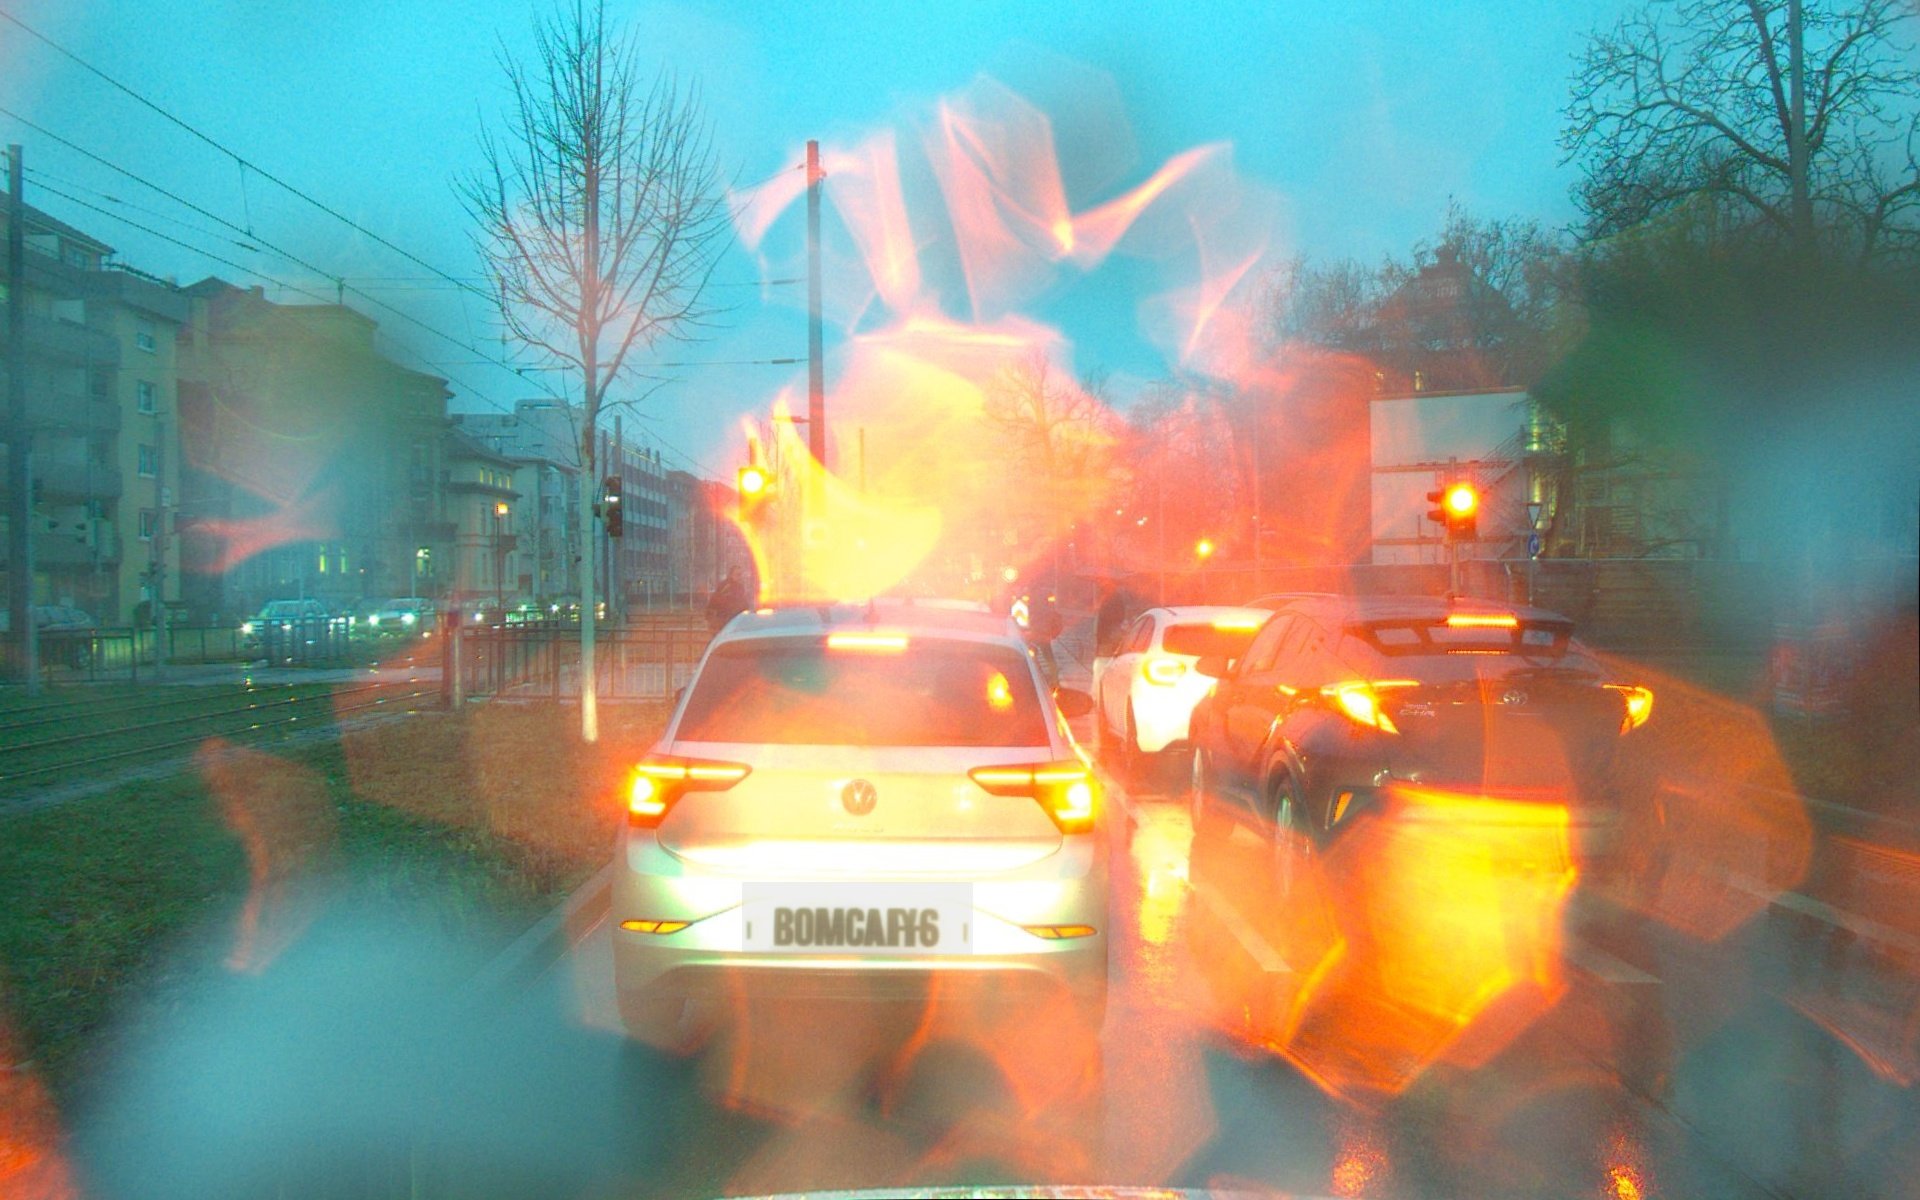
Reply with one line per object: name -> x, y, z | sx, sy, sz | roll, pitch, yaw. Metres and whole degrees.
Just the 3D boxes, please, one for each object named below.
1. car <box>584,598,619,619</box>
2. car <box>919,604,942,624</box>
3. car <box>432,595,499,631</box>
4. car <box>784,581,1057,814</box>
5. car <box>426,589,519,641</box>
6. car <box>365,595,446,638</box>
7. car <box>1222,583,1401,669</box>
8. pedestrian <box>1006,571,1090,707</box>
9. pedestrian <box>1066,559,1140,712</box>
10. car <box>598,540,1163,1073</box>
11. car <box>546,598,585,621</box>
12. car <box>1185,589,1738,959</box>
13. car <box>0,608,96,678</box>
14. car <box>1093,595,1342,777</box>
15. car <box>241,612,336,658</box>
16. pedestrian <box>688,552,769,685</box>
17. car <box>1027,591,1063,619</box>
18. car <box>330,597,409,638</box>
car -> -28.570, 0.695, 131.849 | 1.910, 1.630, 4.000 | 1, 0, 0
car -> -2.240, 1.029, 125.612 | 1.702, 1.444, 4.393 | -1, 1, -1
car -> -23.115, 0.598, 77.402 | 1.910, 1.630, 4.000 | 1, 0, 0
car -> -0.280, 0.614, 13.109 | 1.762, 1.492, 4.585 | -1, 1, -1
car -> -16.165, 0.472, 55.044 | 1.953, 1.630, 3.999 | 1, 0, -2
car -> -21.355, 0.601, 63.832 | 1.829, 1.604, 3.999 | -1, 0, -1
car -> 8.762, 0.627, 41.121 | 4.181, 1.977, 2.001 | 1, 0, 16
pedestrian -> 1.357, 0.586, 25.623 | 0.946, 2.049, 1.000 | -1, 0, -23
pedestrian -> 1.959, 0.476, 22.752 | 0.939, 2.049, 1.008 | -1, 0, 2
car -> -0.346, 0.592, 6.894 | 1.659, 1.560, 3.997 | 1, 0, -4
car -> -28.653, 0.657, 120.259 | 1.910, 1.630, 4.000 | 1, 0, 0
car -> 2.379, 0.724, 8.918 | 1.763, 1.537, 3.895 | -1, 0, -1
car -> -20.316, 0.880, 34.976 | 1.821, 1.355, 4.314 | 1, 0, -1
car -> 2.270, 0.710, 15.455 | 1.710, 1.458, 3.731 | 1, 0, 0
car -> -20.803, 1.062, 51.386 | 1.658, 1.300, 4.142 | -1, 0, -7
pedestrian -> -3.666, 0.275, 26.154 | 0.992, 2.049, 0.953 | -1, 0, -27
car -> 4.549, 0.254, 88.971 | 1.702, 1.444, 3.703 | -1, 1, -1
car -> -24.808, 0.709, 69.619 | 1.910, 1.630, 4.000 | 1, 0, 0
